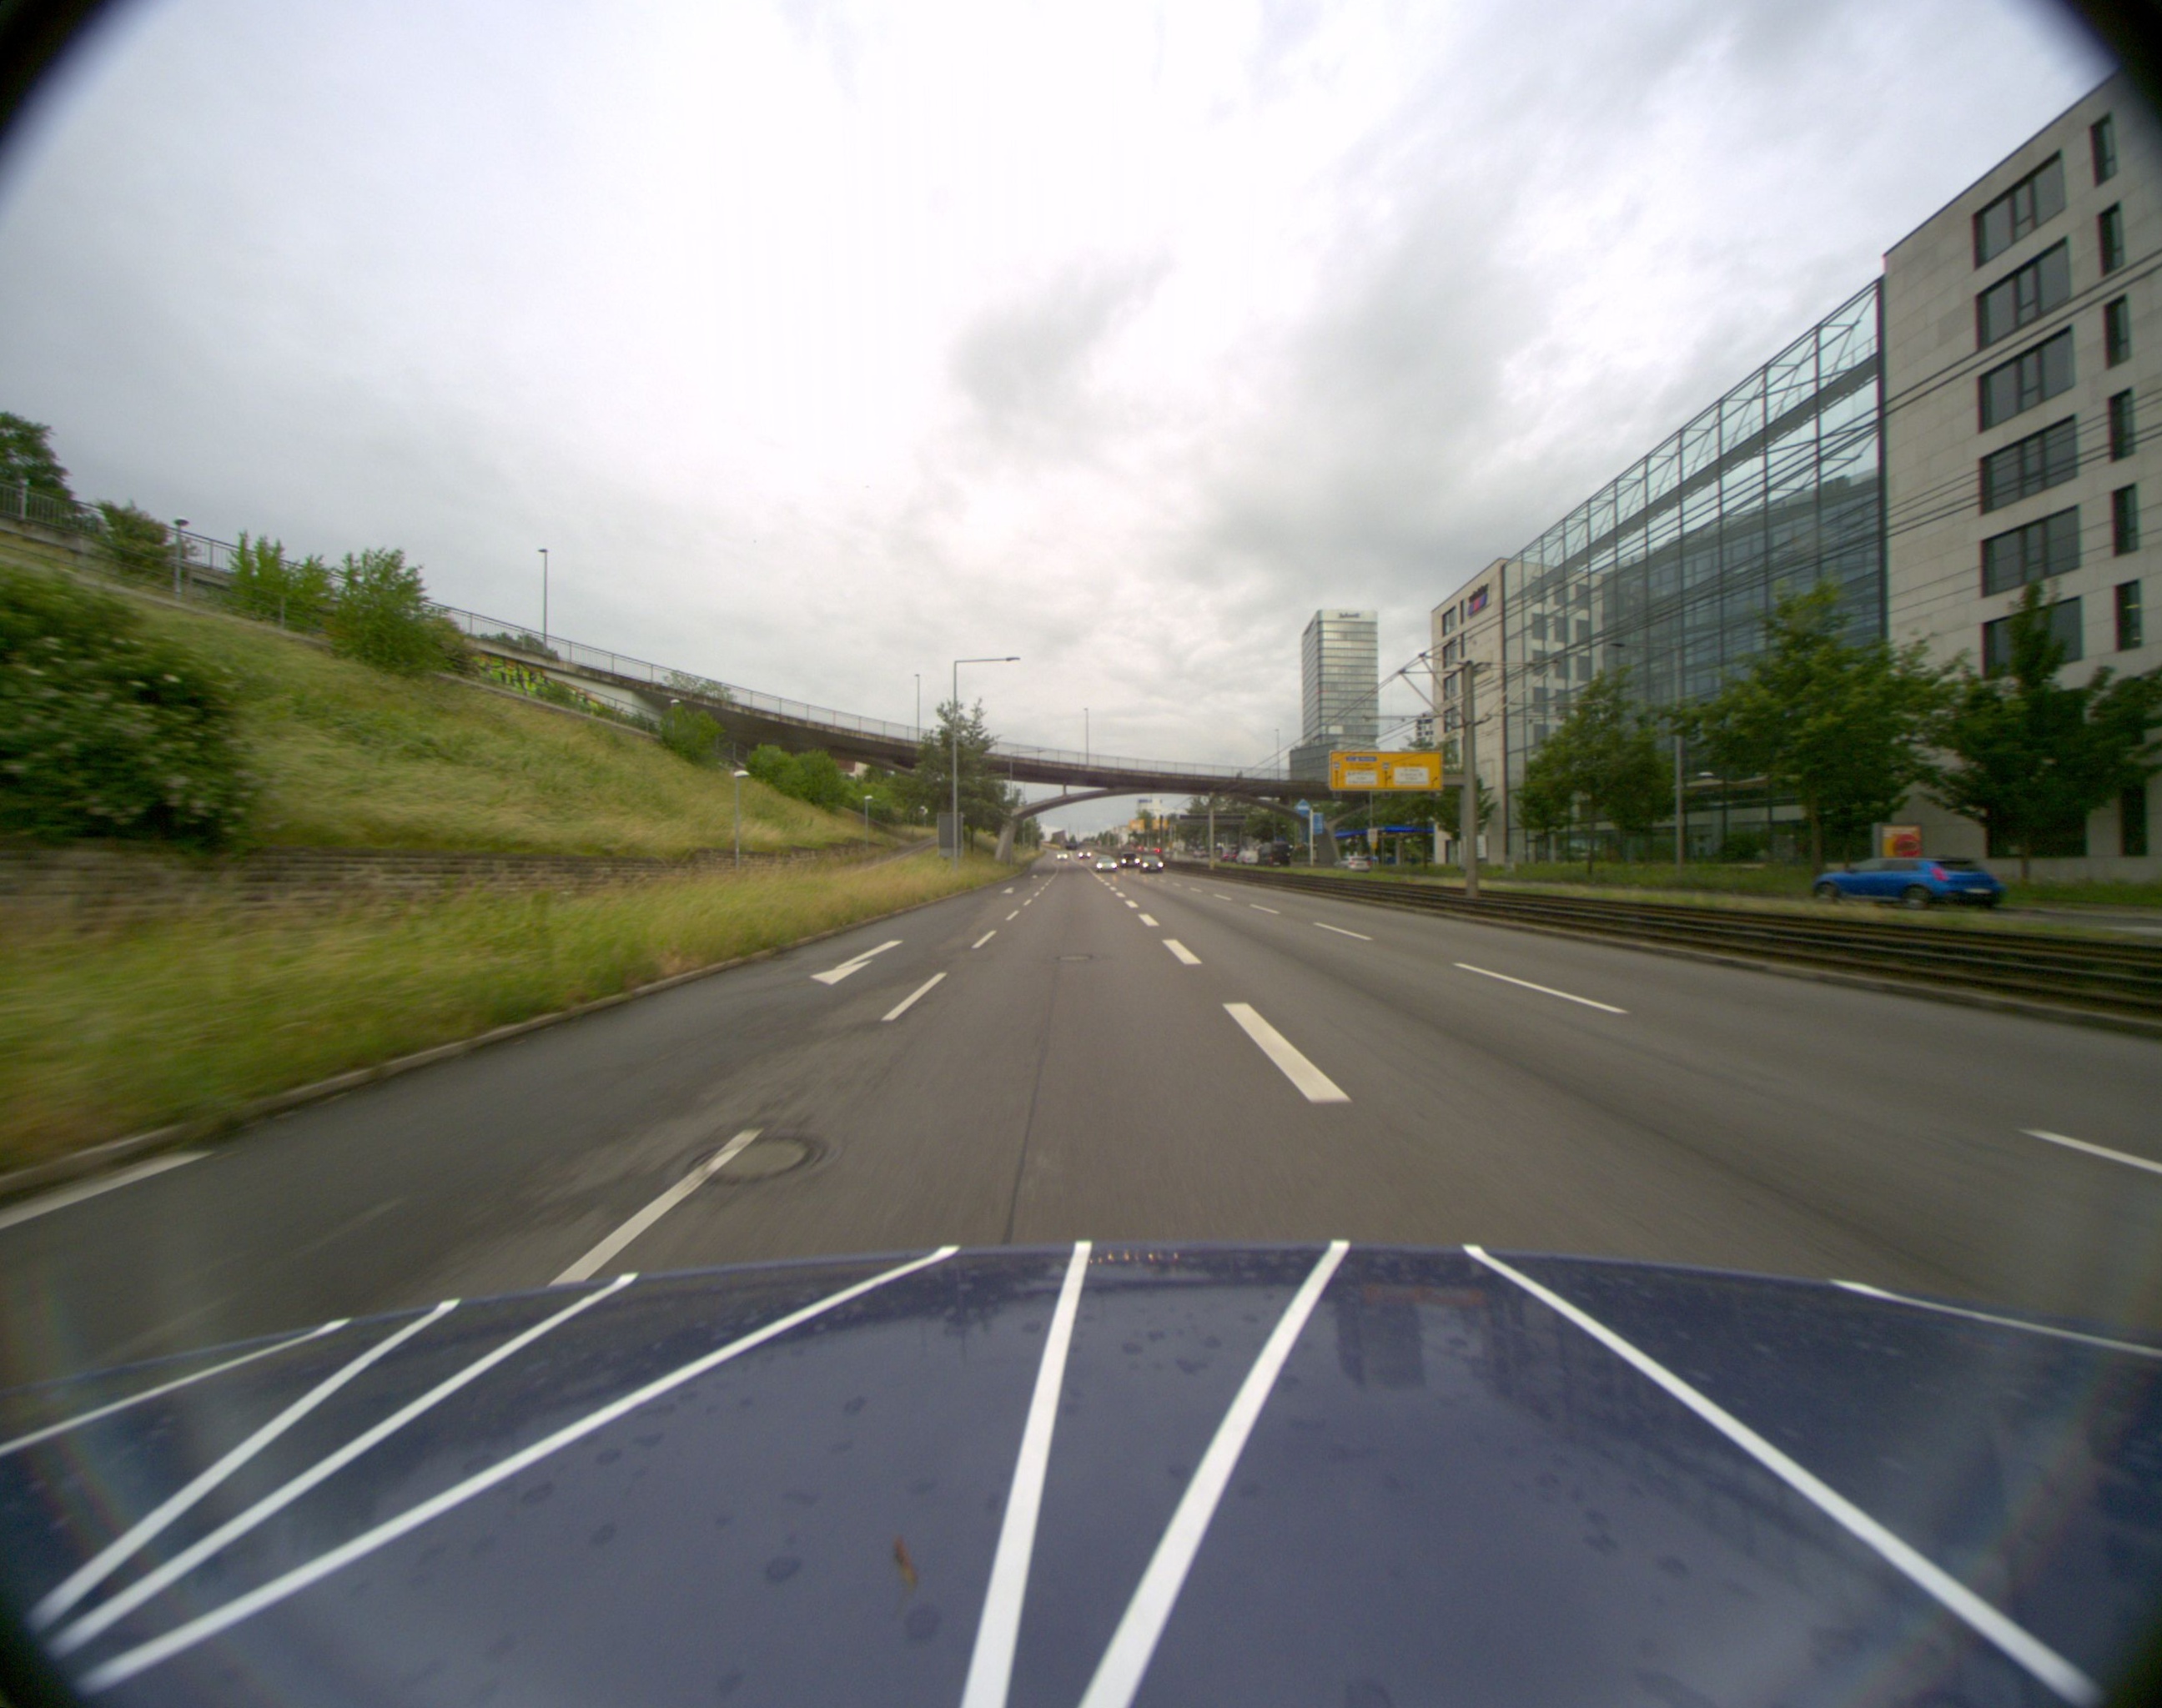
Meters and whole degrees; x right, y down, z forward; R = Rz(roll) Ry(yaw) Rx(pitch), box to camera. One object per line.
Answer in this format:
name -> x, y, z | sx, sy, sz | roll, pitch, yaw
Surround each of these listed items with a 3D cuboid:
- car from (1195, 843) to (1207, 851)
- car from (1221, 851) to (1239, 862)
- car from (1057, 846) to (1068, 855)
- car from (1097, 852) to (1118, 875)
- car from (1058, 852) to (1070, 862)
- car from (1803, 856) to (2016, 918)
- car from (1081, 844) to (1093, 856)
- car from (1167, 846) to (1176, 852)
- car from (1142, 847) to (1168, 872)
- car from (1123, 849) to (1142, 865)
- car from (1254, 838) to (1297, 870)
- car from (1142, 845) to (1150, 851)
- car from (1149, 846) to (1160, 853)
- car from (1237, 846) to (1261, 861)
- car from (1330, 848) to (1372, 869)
car -> 23.079, -1.299, 146.612 | 1.814, 1.524, 4.275 | -2, 0, 3
car -> 22.135, 0.351, 113.298 | 1.814, 1.597, 4.490 | -2, 0, 1
car -> -3.596, -0.694, 149.380 | 1.794, 1.622, 4.376 | -2, 2, 2
car -> 2.466, 0.836, 70.591 | 1.794, 1.858, 4.376 | -2, 2, 2
car -> -2.880, 0.498, 129.450 | 1.794, 1.622, 4.376 | -2, 2, 2
car -> 23.863, 0.878, 22.140 | 1.845, 1.446, 4.023 | -2, 2, 1
car -> 1.071, -0.749, 133.432 | 1.794, 1.858, 4.376 | -2, 2, 2
car -> 23.392, -1.398, 196.371 | 1.925, 1.488, 4.656 | 2, 0, 1
car -> 6.262, 0.423, 64.714 | 1.794, 1.858, 4.376 | -2, 2, 2
car -> 5.565, 0.316, 81.878 | 1.794, 1.536, 4.376 | -2, 2, 2
car -> 18.252, -0.046, 71.633 | 2.390, 2.801, 5.610 | -2, 1, -1
car -> 16.404, -1.549, 192.447 | 1.768, 1.588, 4.791 | -2, 0, 1
car -> 16.455, -0.919, 169.729 | 1.815, 1.524, 4.868 | -2, 0, -2
car -> 21.072, -0.066, 95.467 | 1.942, 1.751, 5.062 | -2, 0, 2
car -> 21.576, 0.332, 60.875 | 1.764, 1.524, 4.817 | -2, 0, 2
